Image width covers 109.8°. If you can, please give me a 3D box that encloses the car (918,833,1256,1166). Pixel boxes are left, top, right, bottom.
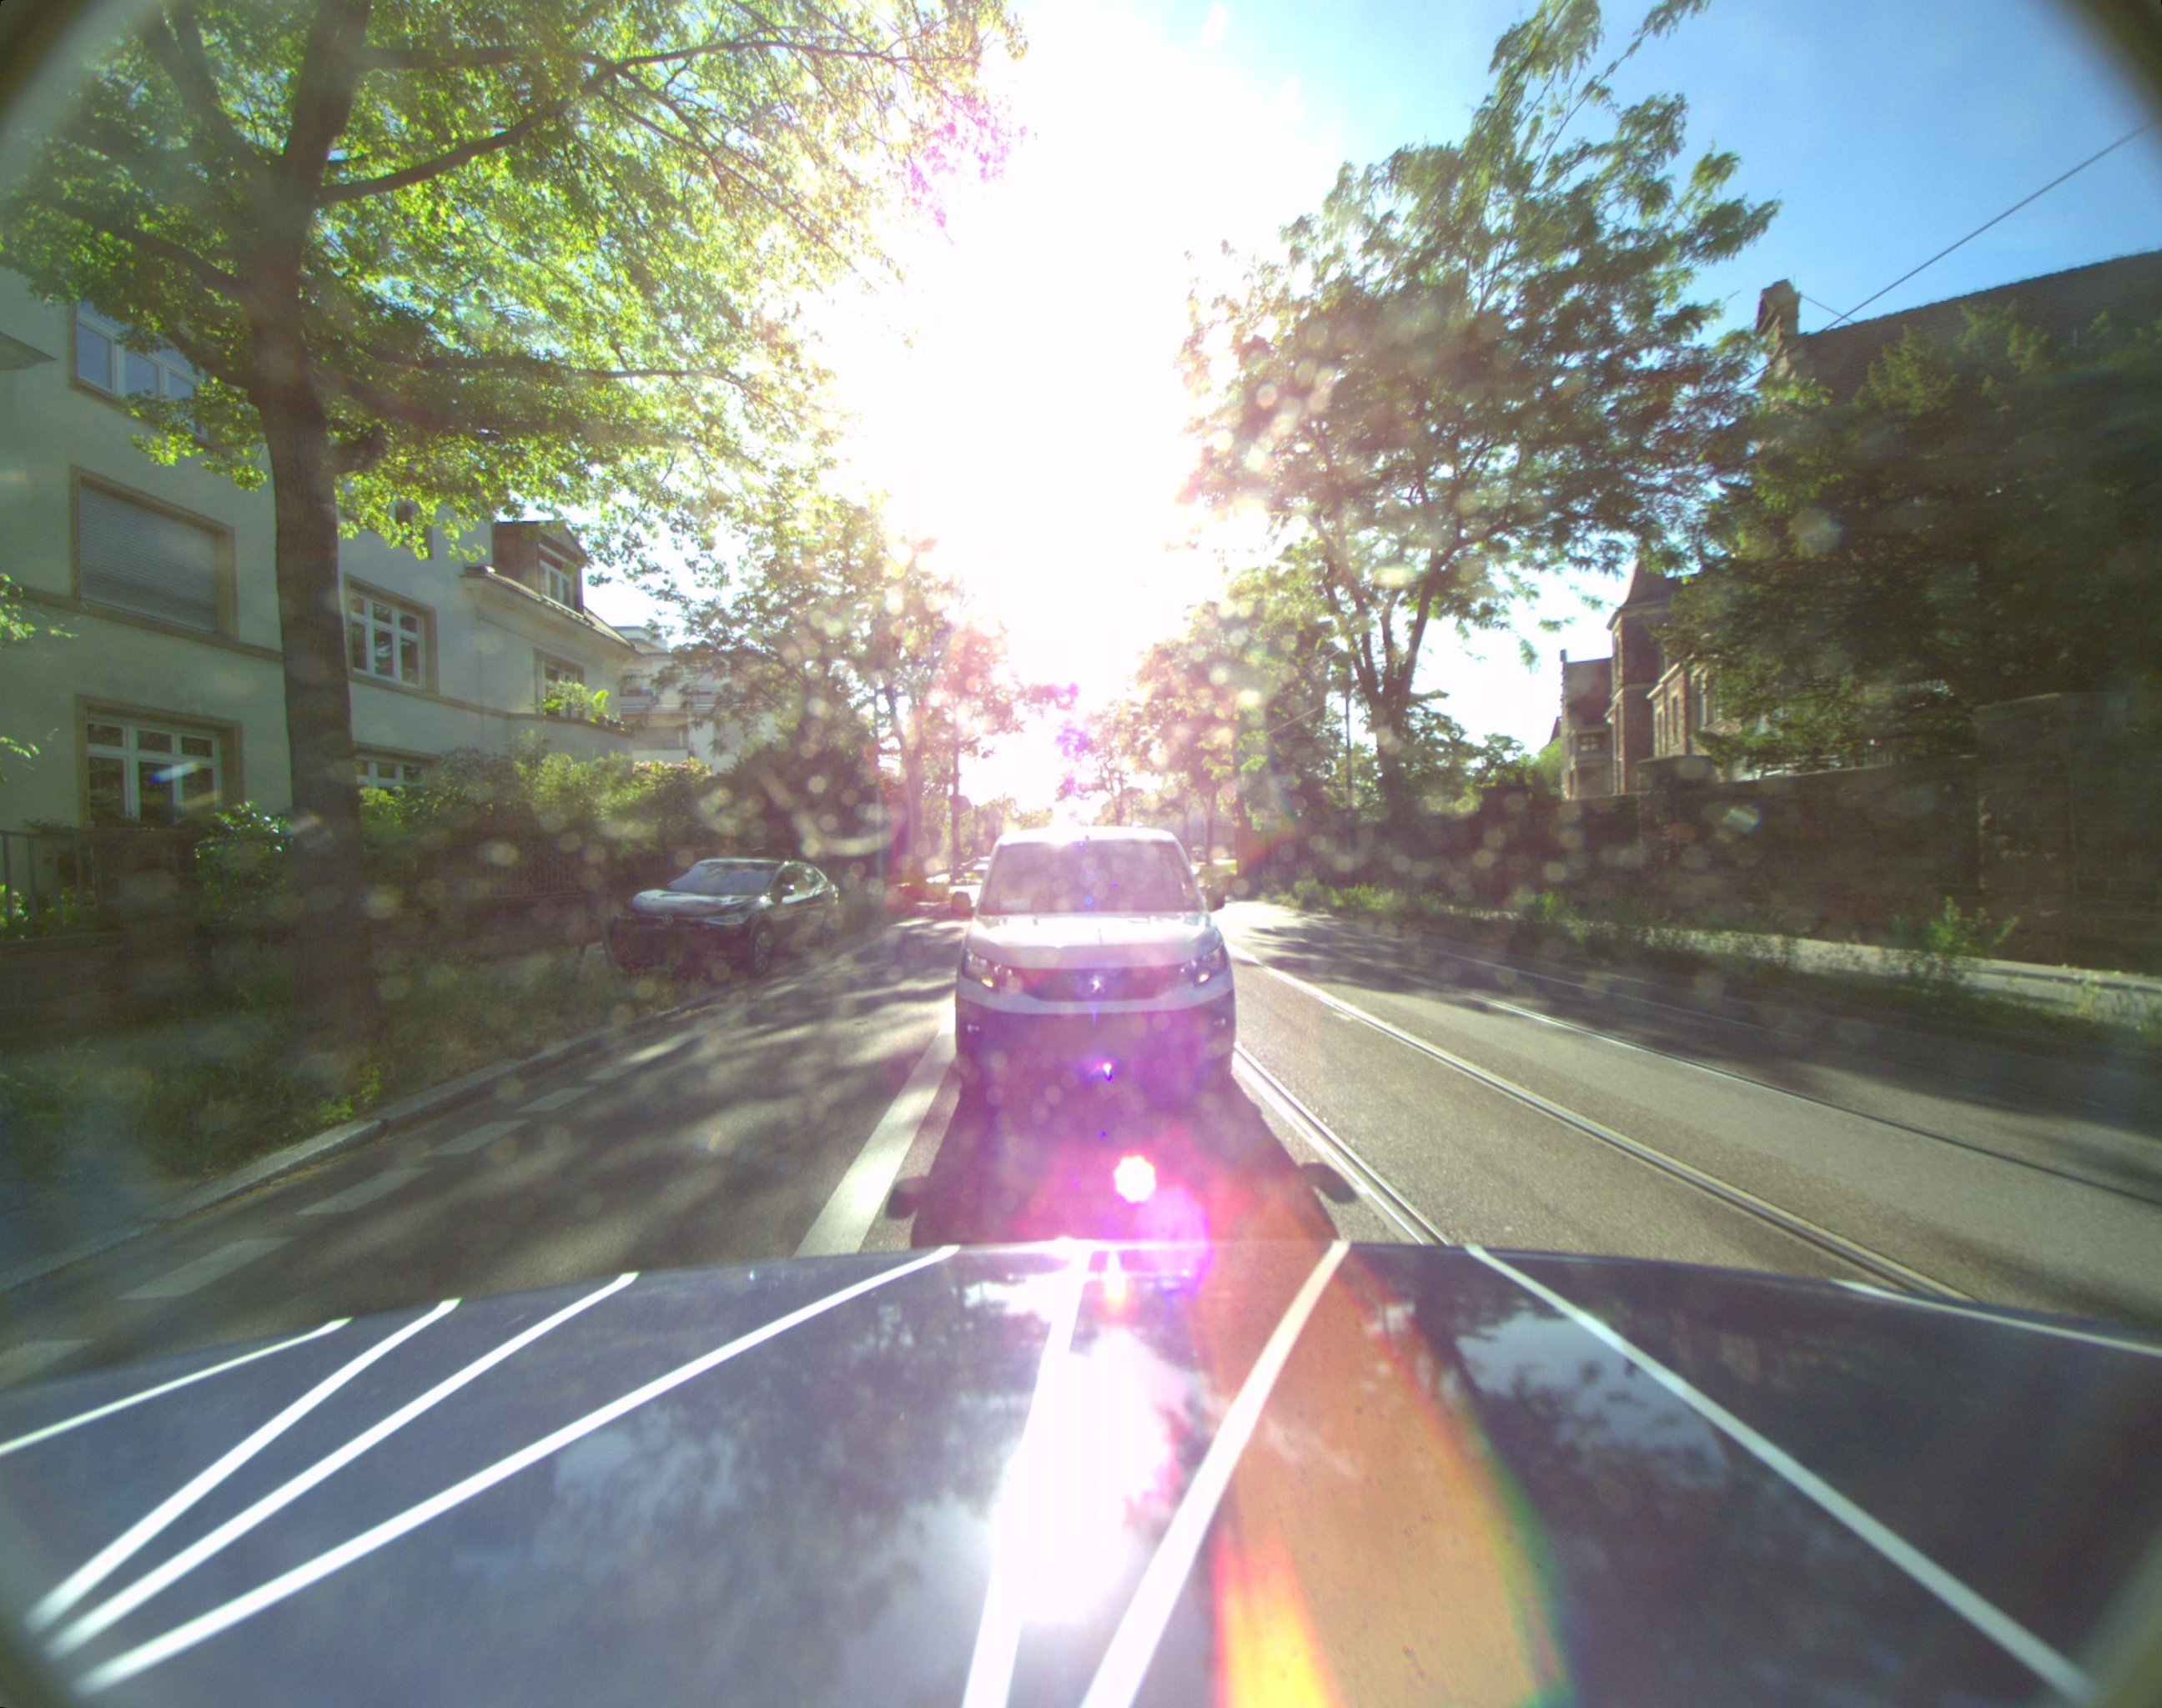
[{"bbox_3d":[0.051,0.786,6.528,1.793,1.770,4.786,-2,0,0],"label":"car"}]

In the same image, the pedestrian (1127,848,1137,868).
[{"bbox_3d":[4.696,0.359,70.159,0.634,1.796,0.674,-1,1,23],"label":"pedestrian"}]

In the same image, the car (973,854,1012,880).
[{"bbox_3d":[-5.247,0.754,45.456,1.787,1.443,4.000,-2,0,1],"label":"car"}]

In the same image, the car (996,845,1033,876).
[{"bbox_3d":[-4.495,0.433,51.921,1.998,2.002,4.583,-2,0,1],"label":"car"}]

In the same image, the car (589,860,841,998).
[{"bbox_3d":[-5.182,0.945,11.461,1.743,1.597,4.091,2,0,1],"label":"car"}]
